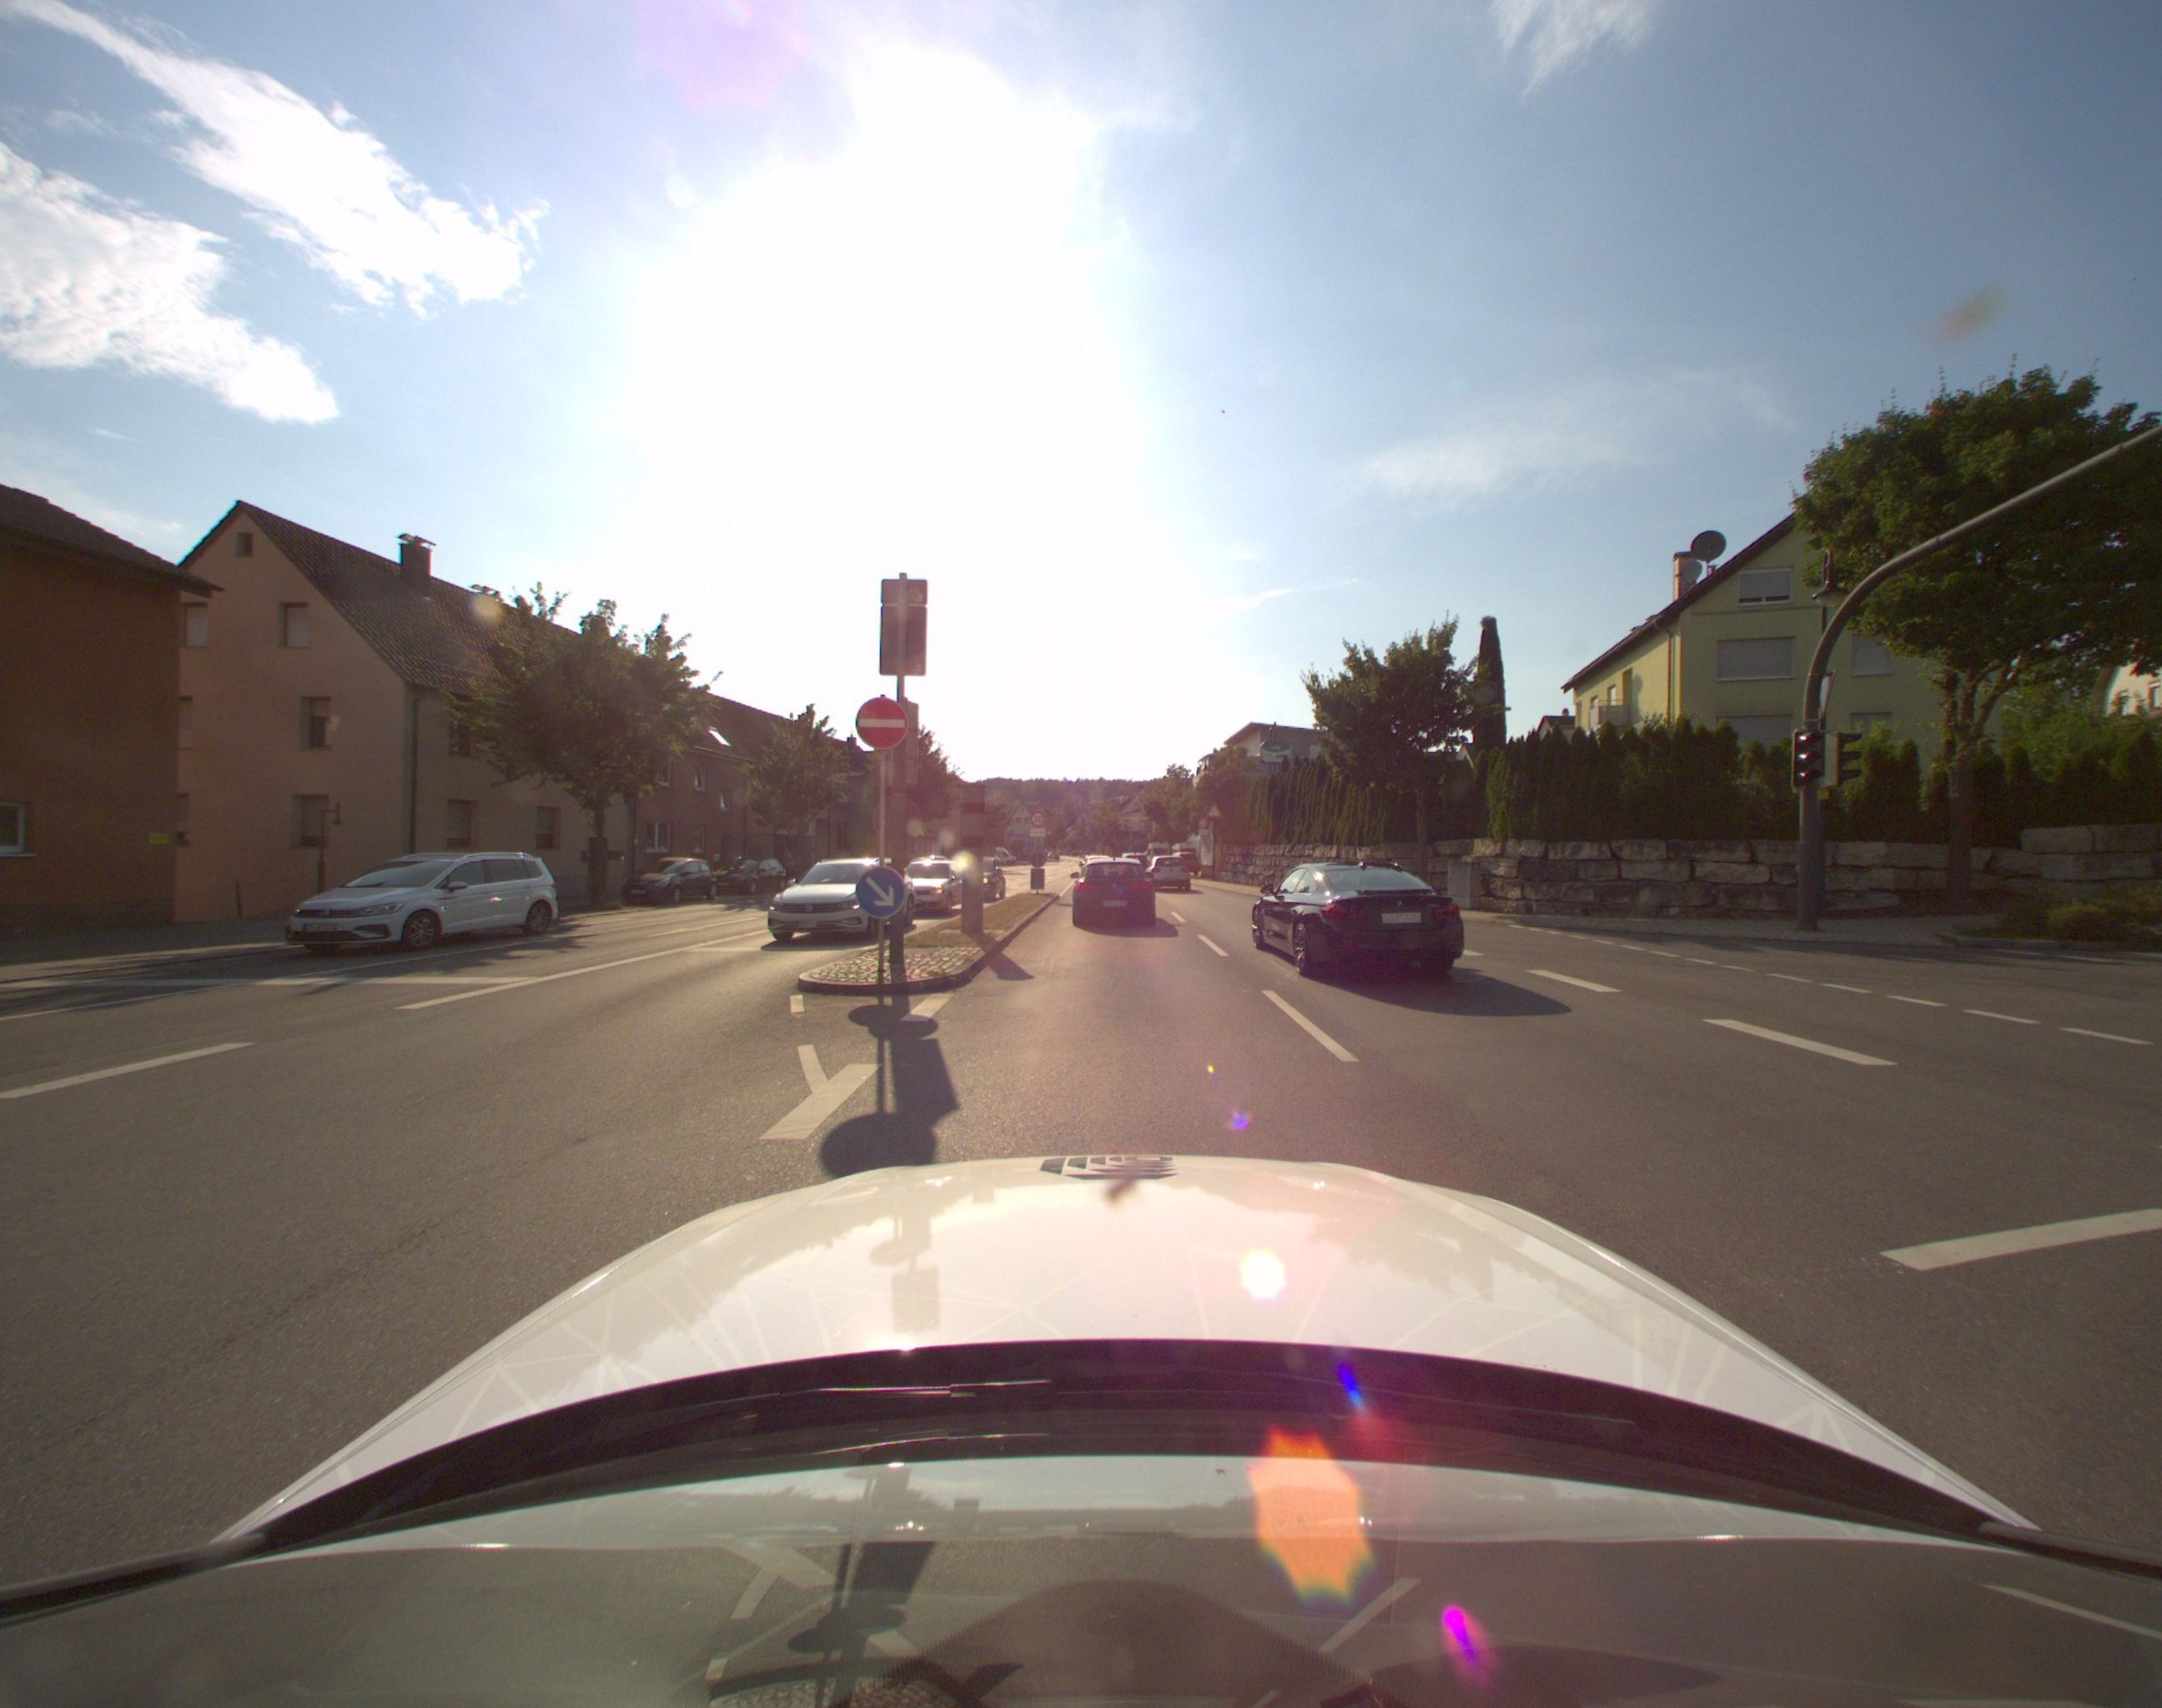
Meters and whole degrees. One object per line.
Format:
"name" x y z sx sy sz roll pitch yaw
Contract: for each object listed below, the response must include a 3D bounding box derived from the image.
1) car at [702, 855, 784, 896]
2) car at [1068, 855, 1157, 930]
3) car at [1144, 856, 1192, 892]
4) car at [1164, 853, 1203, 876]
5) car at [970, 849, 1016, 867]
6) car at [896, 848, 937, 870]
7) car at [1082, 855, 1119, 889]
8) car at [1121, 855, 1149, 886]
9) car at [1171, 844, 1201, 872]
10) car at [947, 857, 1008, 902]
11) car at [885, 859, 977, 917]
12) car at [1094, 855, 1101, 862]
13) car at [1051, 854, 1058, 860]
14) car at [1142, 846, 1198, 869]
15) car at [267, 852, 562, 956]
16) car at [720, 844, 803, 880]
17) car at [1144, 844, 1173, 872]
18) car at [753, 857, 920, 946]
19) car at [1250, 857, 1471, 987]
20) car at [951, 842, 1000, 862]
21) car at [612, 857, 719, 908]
"car" -13.674 0.832 33.216 1.613 1.510 4.133 0 0 0
"car" 0.673 0.783 18.165 1.765 1.456 3.516 -1 0 1
"car" 3.635 0.802 34.598 1.747 1.414 3.422 0 0 1
"car" 7.616 0.753 60.994 1.832 1.649 4.527 0 0 -7
"car" -12.260 0.540 114.197 6.139 2.444 2.249 1 0 0
"car" -11.712 0.359 58.168 1.657 1.487 4.007 3 0 6
"car" 0.918 0.855 40.887 1.588 1.600 3.889 0 0 -3
"car" 3.235 0.968 49.197 1.596 1.767 3.413 0 0 2
"car" 10.663 0.344 83.185 2.106 2.722 6.438 0 0 -2
"car" -3.566 0.859 28.680 1.526 1.462 3.508 0 0 3
"car" -3.938 0.856 21.948 1.582 1.427 3.582 0 0 4
"car" 3.628 1.081 179.935 1.592 1.485 3.473 1 0 -1
"car" -6.207 0.746 192.209 1.592 1.485 3.473 1 0 -1
"car" 9.908 0.357 90.974 6.029 2.516 2.042 0 0 -3
"car" -11.794 0.787 14.900 1.679 1.612 4.414 0 0 1
"car" -17.753 0.430 45.334 3.805 1.881 1.780 2 0 3
"car" 7.837 0.374 83.036 2.144 2.680 6.599 0 0 -2
"car" -4.617 0.818 16.180 1.828 1.488 4.568 0 0 1
"car" 3.530 0.757 11.134 1.693 1.369 4.265 -1 0 2
"car" -13.484 -0.216 104.193 5.893 2.480 2.196 1 0 4
"car" -13.880 0.895 27.465 1.507 1.510 3.886 2 0 1
